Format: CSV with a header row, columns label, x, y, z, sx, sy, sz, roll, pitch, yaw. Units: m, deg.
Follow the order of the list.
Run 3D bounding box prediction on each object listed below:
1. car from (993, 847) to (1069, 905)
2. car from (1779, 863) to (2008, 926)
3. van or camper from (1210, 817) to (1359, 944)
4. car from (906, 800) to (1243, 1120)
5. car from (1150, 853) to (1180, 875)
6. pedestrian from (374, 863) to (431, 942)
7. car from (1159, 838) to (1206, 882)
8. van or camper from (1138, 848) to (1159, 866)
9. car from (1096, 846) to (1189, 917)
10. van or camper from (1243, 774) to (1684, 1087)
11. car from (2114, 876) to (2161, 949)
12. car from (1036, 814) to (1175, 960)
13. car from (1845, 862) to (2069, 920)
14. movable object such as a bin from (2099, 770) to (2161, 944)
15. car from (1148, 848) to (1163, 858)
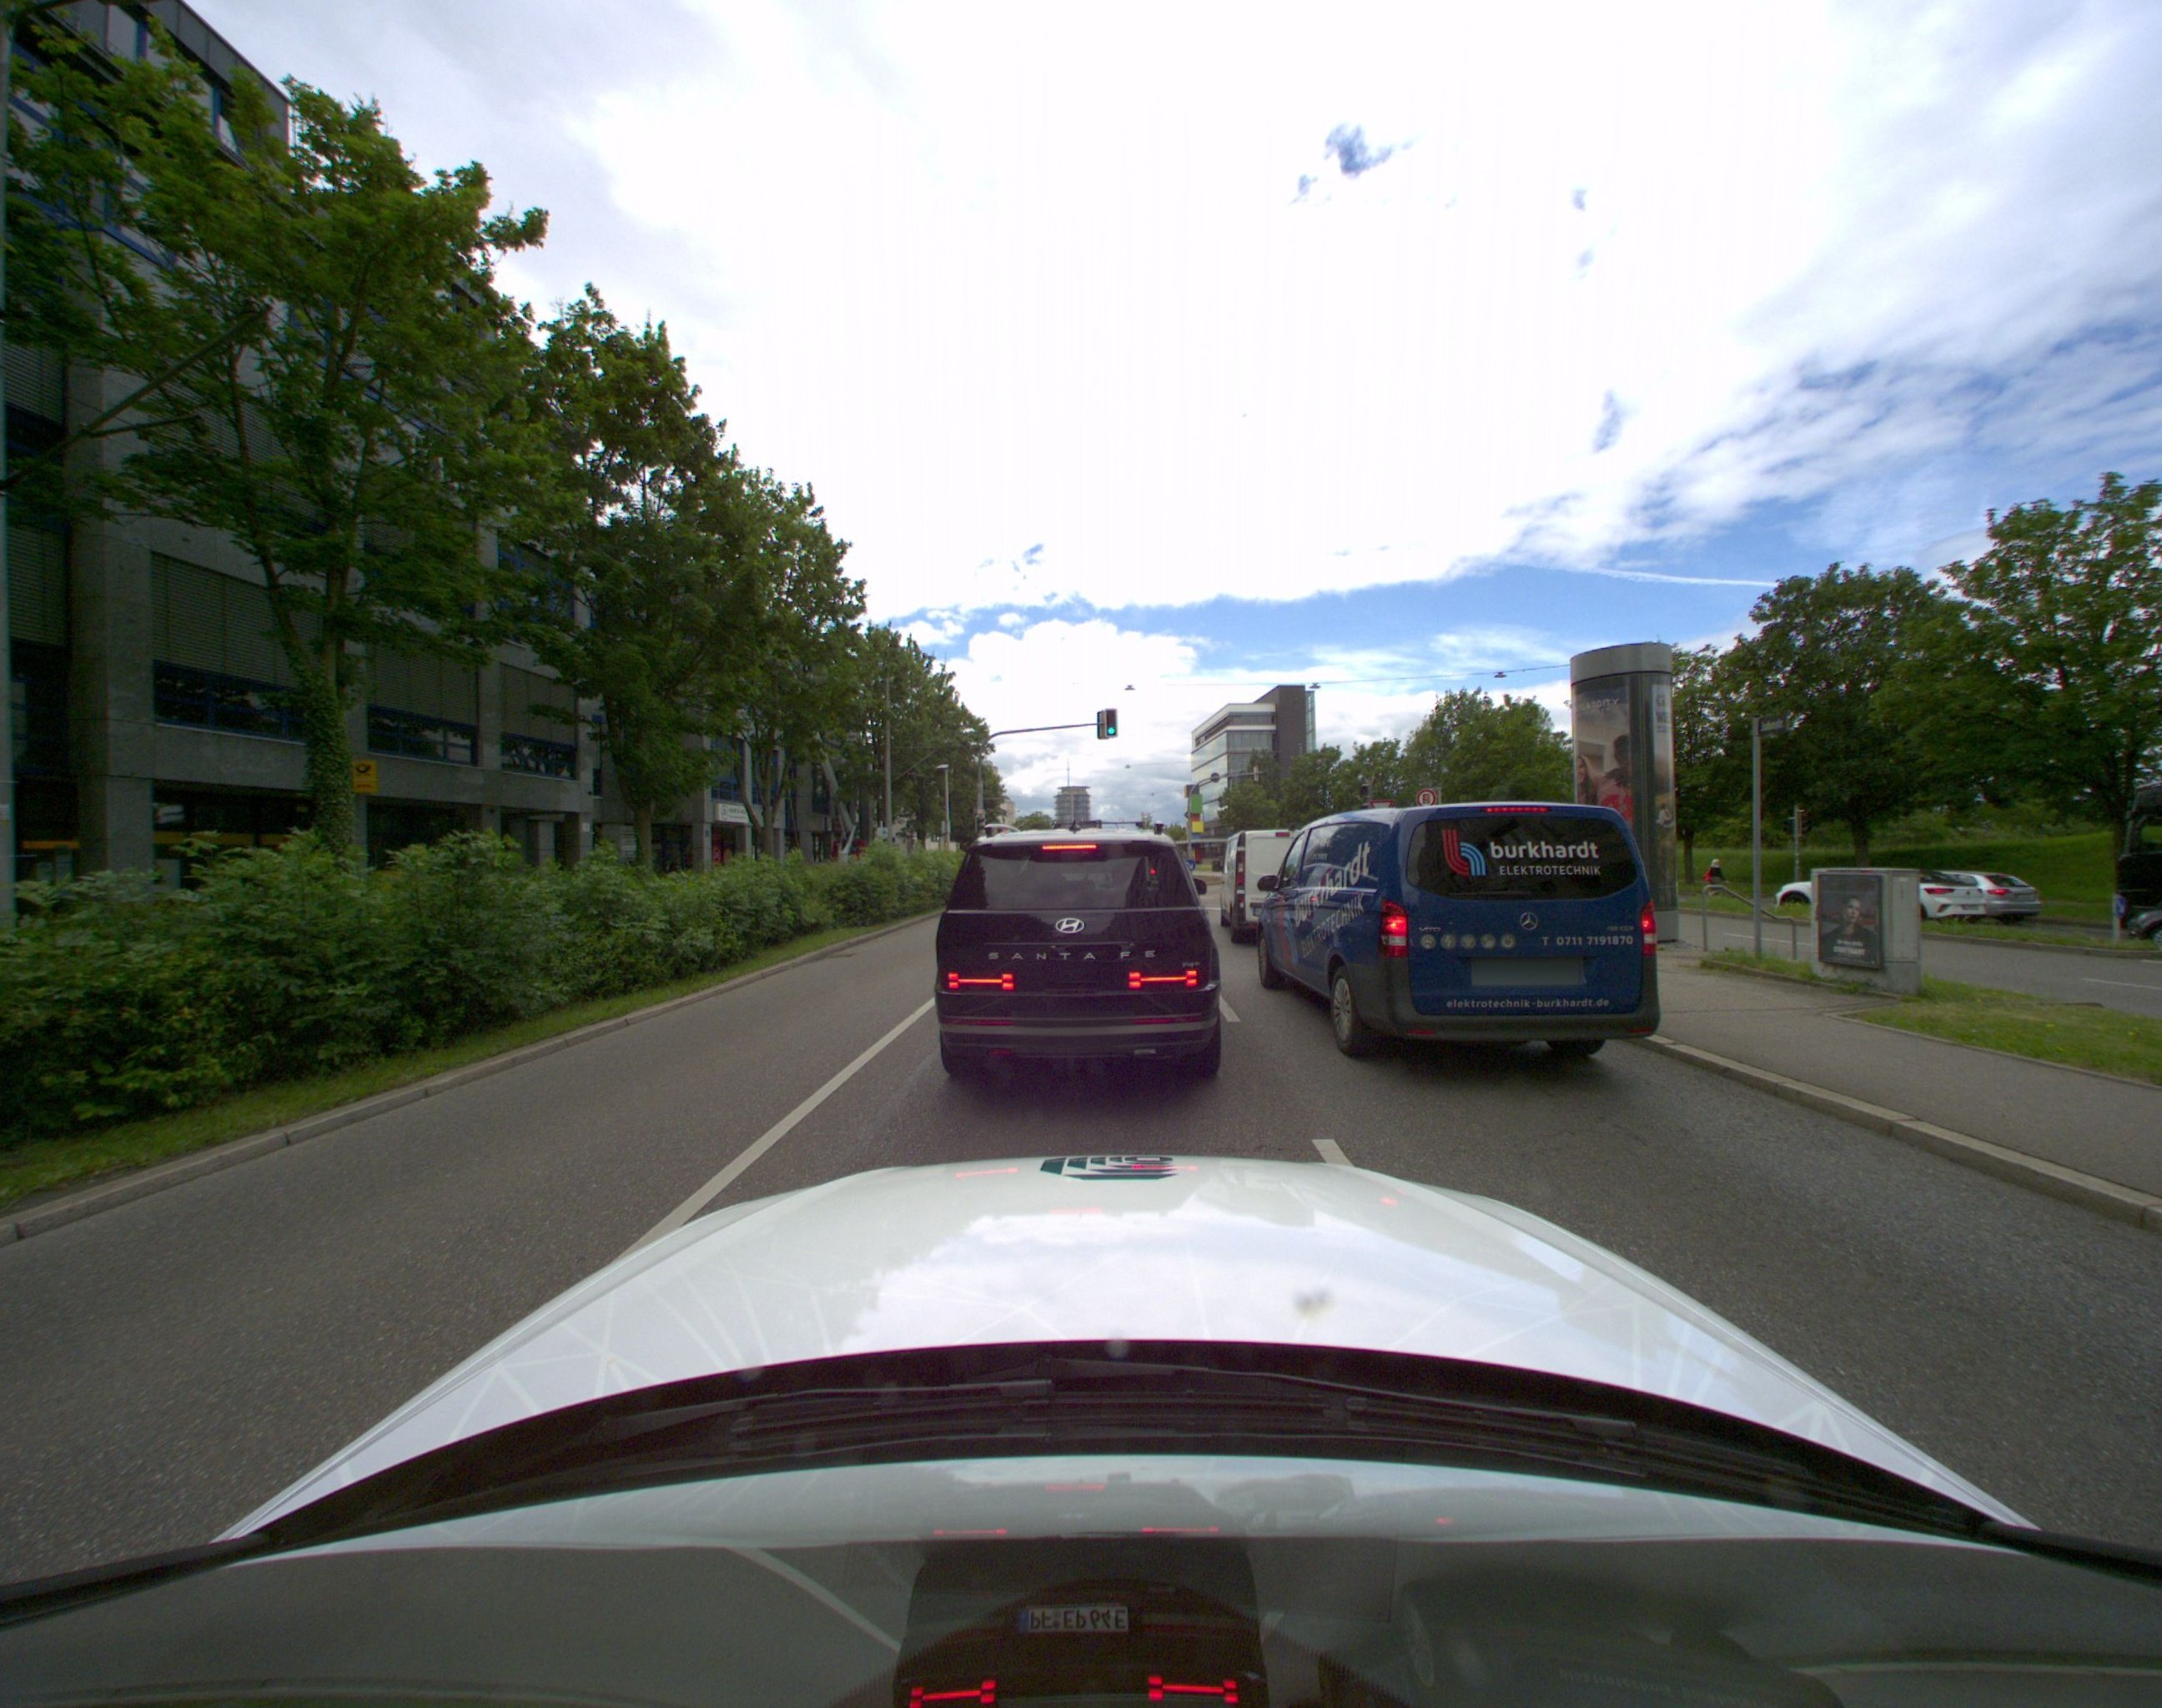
label,x,y,z,sx,sy,sz,roll,pitch,yaw
car,-1.490,0.664,25.818,1.839,1.581,4.120,-4,-1,3
car,21.750,1.021,22.046,1.994,1.453,3.985,1,0,-11
van or camper,3.604,0.427,15.328,1.984,2.013,4.658,-1,0,5
car,0.024,0.599,6.531,1.862,1.760,3.881,-1,0,2
car,6.327,0.752,61.919,1.986,1.618,4.001,-1,-1,2
pedestrian,-16.672,1.183,20.033,0.771,1.894,0.731,-1,-1,1
car,4.925,0.289,39.910,1.985,2.014,4.003,-1,-1,3
van or camper,10.243,0.479,123.460,1.979,2.547,6.603,-1,-1,14
car,1.752,0.688,21.837,1.763,1.717,4.354,-1,-1,14
van or camper,2.888,0.483,7.602,1.853,1.911,5.034,-1,0,2
car,22.990,1.219,15.295,1.994,1.453,3.985,1,0,-11
car,0.406,0.468,13.401,1.908,2.003,3.881,-1,0,2
car,25.082,1.001,23.545,1.994,1.453,3.985,1,0,-11
movable object such as a bin,26.245,0.009,15.277,2.860,3.903,8.536,-1,-1,-11
car,12.070,-0.145,131.467,1.987,1.684,3.998,-1,-1,-1
